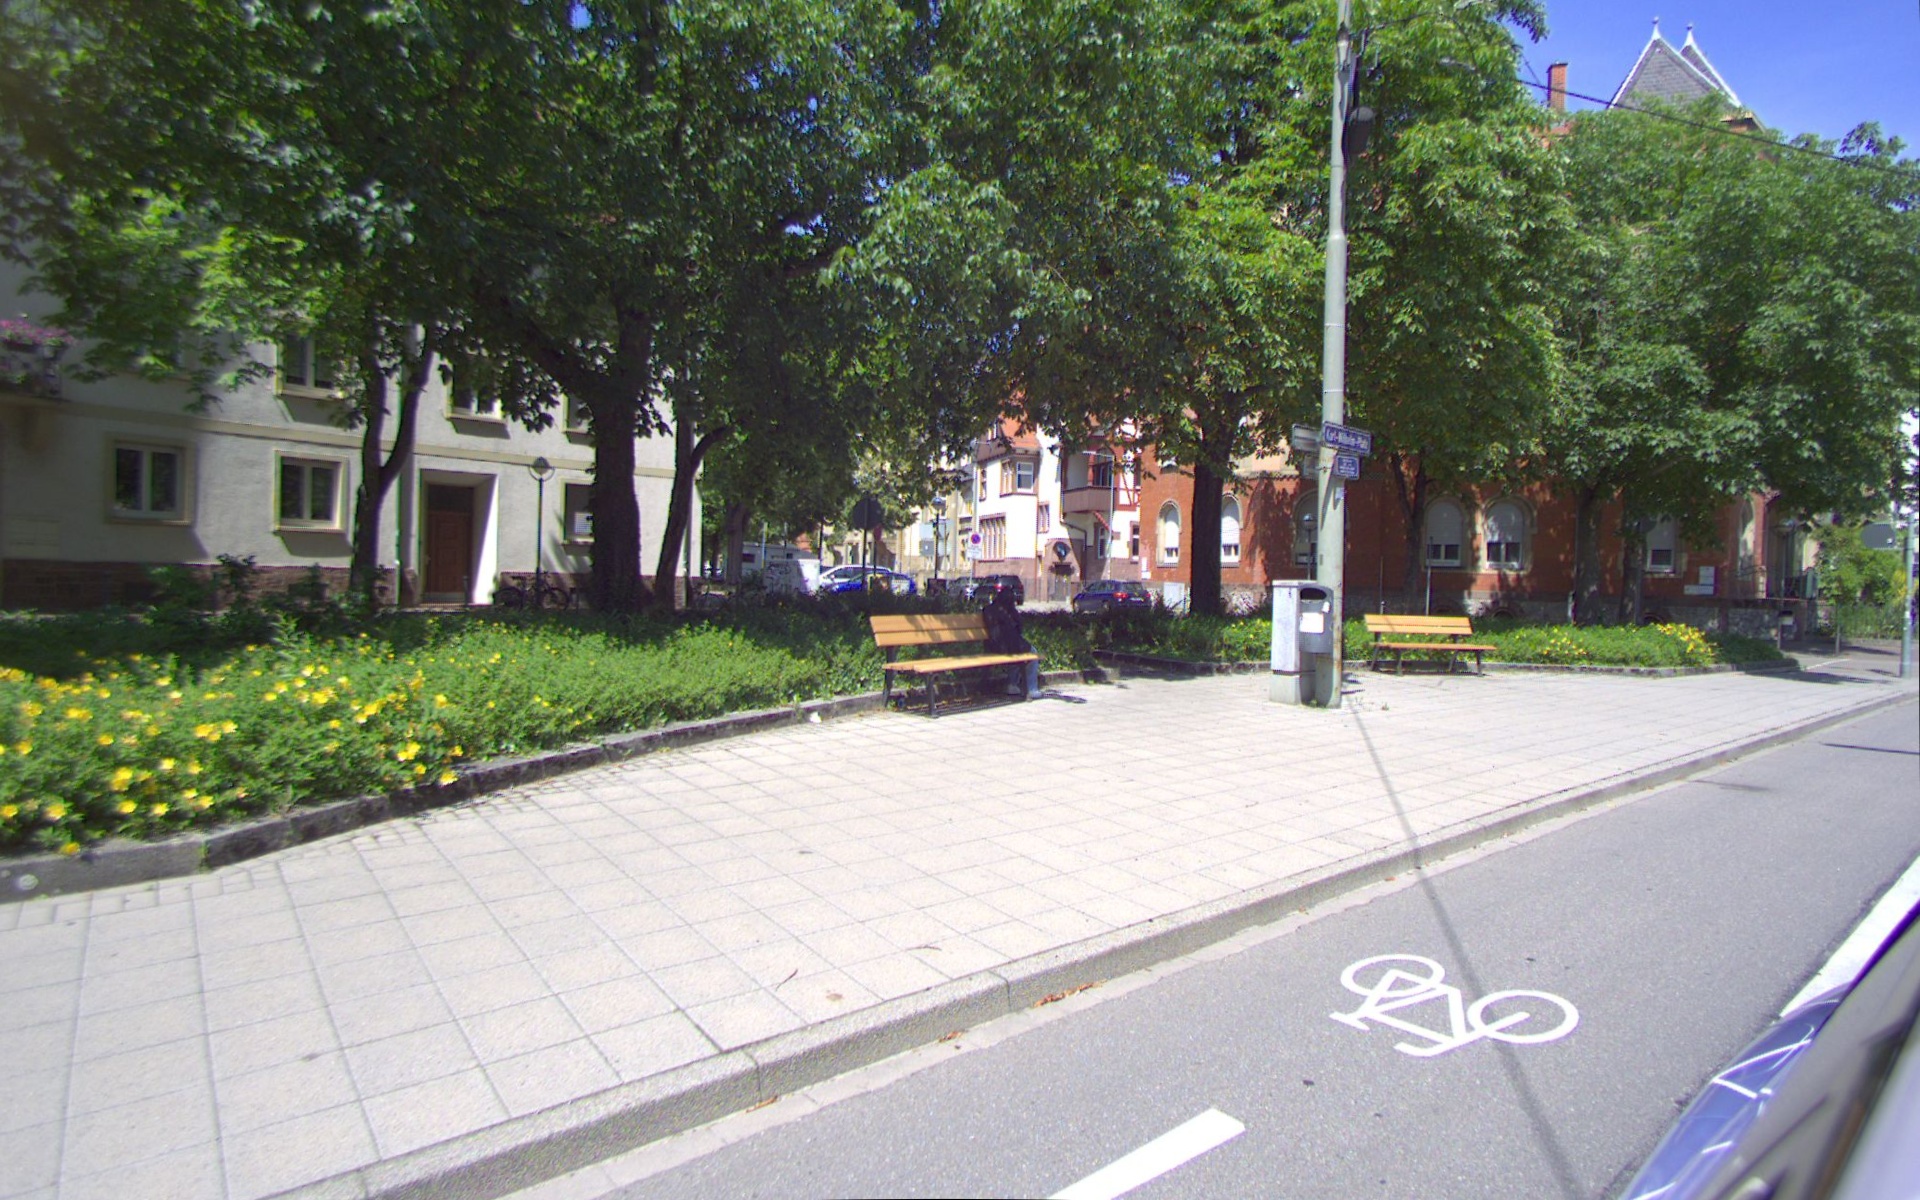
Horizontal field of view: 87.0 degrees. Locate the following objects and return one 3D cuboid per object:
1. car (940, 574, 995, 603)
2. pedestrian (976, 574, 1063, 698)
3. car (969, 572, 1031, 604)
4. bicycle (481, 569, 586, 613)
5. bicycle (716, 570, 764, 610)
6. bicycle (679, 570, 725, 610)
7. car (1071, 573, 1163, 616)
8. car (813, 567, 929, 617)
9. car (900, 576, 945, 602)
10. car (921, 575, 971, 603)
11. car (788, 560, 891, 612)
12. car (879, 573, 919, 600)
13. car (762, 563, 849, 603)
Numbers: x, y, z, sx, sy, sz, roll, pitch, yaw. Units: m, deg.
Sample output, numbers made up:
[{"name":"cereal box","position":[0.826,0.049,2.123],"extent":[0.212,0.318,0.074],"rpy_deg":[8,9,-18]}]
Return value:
[{"name":"car","position":[0.380,-0.655,58.689],"extent":[1.897,1.638,4.318],"rpy_deg":[0,0,-19]},{"name":"pedestrian","position":[0.599,0.336,10.081],"extent":[0.562,1.156,0.718],"rpy_deg":[3,2,33]},{"name":"car","position":[2.067,-0.620,54.082],"extent":[1.897,1.638,4.318],"rpy_deg":[0,0,-19]},{"name":"bicycle","position":[-10.252,-0.223,24.382],"extent":[2.230,1.024,0.751],"rpy_deg":[-1,0,-41]},{"name":"bicycle","position":[-5.867,-0.269,26.911],"extent":[0.736,1.024,2.273],"rpy_deg":[0,0,-26]},{"name":"bicycle","position":[-6.774,-0.261,26.482],"extent":[0.736,1.024,2.273],"rpy_deg":[0,0,-26]},{"name":"car","position":[6.276,-0.233,41.033],"extent":[1.897,1.638,4.318],"rpy_deg":[0,0,-19]},{"name":"car","position":[-3.544,-0.323,40.023],"extent":[4.219,1.903,1.942],"rpy_deg":[0,0,-18]},{"name":"car","position":[-2.566,-0.728,67.956],"extent":[1.897,1.638,4.318],"rpy_deg":[0,0,-19]},{"name":"car","position":[-0.918,-0.692,63.259],"extent":[1.897,1.638,4.318],"rpy_deg":[0,0,-19]},{"name":"car","position":[-5.371,-0.629,44.835],"extent":[4.219,2.219,1.942],"rpy_deg":[0,0,-18]},{"name":"car","position":[-4.502,-1.007,74.469],"extent":[1.897,1.897,4.318],"rpy_deg":[0,0,-19]},{"name":"car","position":[-8.084,-0.884,52.945],"extent":[4.219,2.029,1.942],"rpy_deg":[0,0,-18]}]
